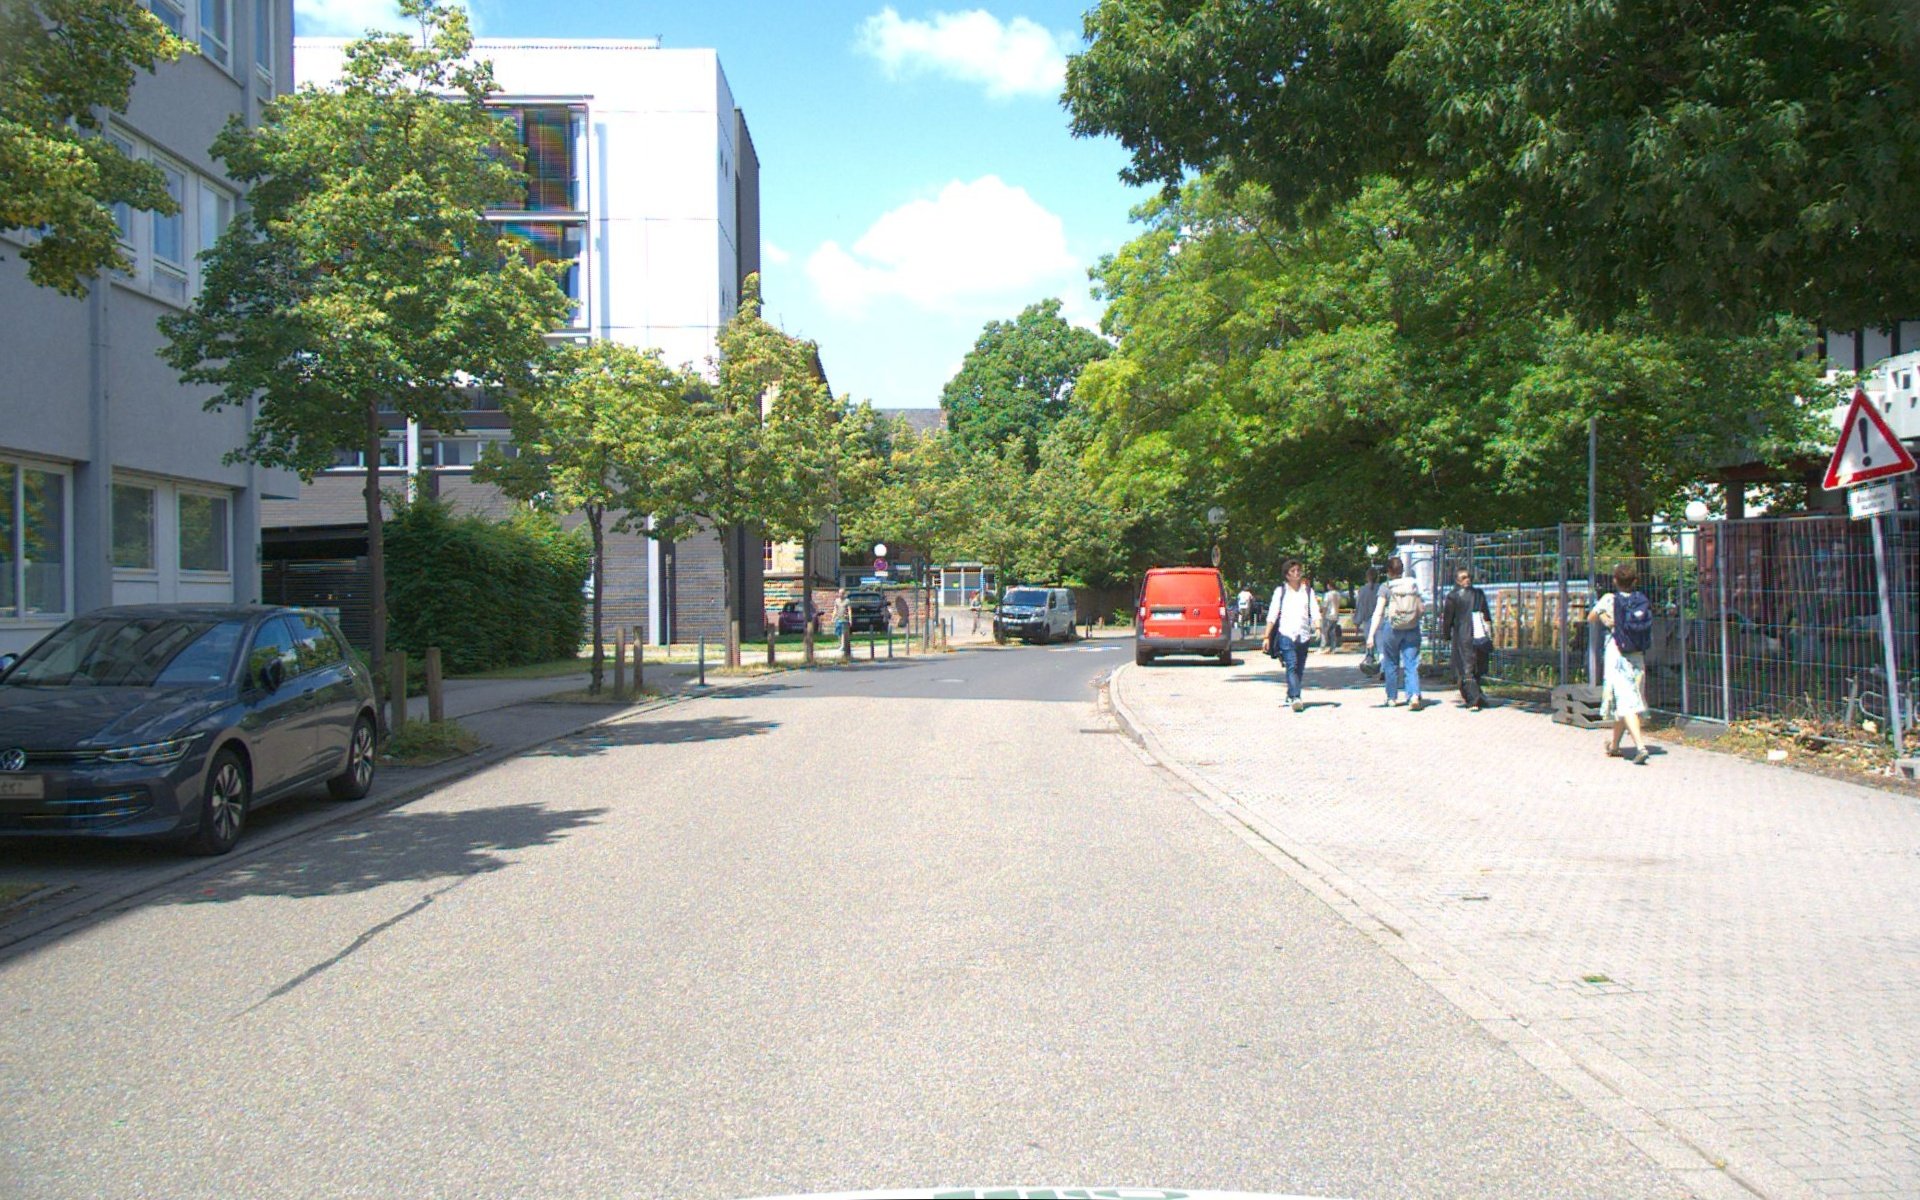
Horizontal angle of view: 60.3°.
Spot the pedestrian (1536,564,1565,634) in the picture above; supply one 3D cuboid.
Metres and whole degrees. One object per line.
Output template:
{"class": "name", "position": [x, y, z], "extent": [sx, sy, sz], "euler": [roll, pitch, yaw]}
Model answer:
{"class": "pedestrian", "position": [16.122, -0.024, 45.171], "extent": [0.531, 1.869, 0.762], "euler": [-1, 0, 5]}

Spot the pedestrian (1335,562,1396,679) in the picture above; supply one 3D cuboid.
{"class": "pedestrian", "position": [5.892, 0.294, 24.022], "extent": [0.699, 1.660, 0.710], "euler": [-1, 0, 28]}

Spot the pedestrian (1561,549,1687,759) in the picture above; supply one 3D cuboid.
{"class": "pedestrian", "position": [5.581, 0.438, 13.938], "extent": [0.636, 1.695, 0.904], "euler": [-1, 0, -3]}

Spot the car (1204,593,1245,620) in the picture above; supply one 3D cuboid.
{"class": "car", "position": [14.589, 0.353, 91.183], "extent": [1.582, 1.412, 4.001], "euler": [-1, 0, 19]}

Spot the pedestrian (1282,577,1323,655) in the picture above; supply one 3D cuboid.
{"class": "pedestrian", "position": [8.184, 0.377, 39.515], "extent": [0.716, 1.853, 0.621], "euler": [0, -1, -38]}

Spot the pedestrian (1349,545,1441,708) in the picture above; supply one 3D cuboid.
{"class": "pedestrian", "position": [4.928, 0.299, 18.778], "extent": [0.832, 1.795, 0.716], "euler": [-1, 0, 2]}

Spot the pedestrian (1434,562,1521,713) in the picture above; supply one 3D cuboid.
{"class": "pedestrian", "position": [5.763, 0.406, 18.457], "extent": [0.654, 1.628, 0.985], "euler": [-1, 0, 1]}

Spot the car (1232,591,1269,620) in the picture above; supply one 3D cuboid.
{"class": "car", "position": [17.460, 0.313, 99.385], "extent": [1.582, 1.708, 4.001], "euler": [-1, 0, 19]}

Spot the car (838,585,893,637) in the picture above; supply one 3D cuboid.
{"class": "car", "position": [-3.836, 0.430, 66.839], "extent": [2.132, 1.959, 5.182], "euler": [-1, 0, -4]}

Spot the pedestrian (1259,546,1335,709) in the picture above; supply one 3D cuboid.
{"class": "pedestrian", "position": [3.860, 0.307, 18.997], "extent": [0.680, 1.812, 0.787], "euler": [-1, 0, 0]}

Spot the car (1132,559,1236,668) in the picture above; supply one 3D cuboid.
{"class": "car", "position": [4.381, 0.239, 32.287], "extent": [1.809, 1.924, 4.894], "euler": [-1, 0, 8]}

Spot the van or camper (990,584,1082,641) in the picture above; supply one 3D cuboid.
{"class": "van or camper", "position": [2.771, 0.411, 58.944], "extent": [1.912, 1.957, 5.422], "euler": [0, 0, 18]}

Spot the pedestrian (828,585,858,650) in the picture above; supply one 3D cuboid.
{"class": "pedestrian", "position": [-3.297, 0.492, 46.588], "extent": [0.571, 1.795, 0.912], "euler": [-1, 0, 14]}

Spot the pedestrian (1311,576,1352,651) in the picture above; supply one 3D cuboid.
{"class": "pedestrian", "position": [8.690, 0.318, 38.693], "extent": [0.738, 1.740, 0.556], "euler": [0, -1, -38]}

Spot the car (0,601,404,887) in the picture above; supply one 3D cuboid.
{"class": "car", "position": [-5.135, 0.763, 10.851], "extent": [1.742, 1.486, 4.256], "euler": [0, 0, -3]}

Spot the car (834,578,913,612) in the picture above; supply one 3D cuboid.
{"class": "car", "position": [-4.887, -0.304, 93.104], "extent": [4.094, 1.855, 1.989], "euler": [-1, 0, -19]}

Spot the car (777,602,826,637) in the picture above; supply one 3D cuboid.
{"class": "car", "position": [-6.369, 0.774, 66.861], "extent": [1.781, 1.347, 3.766], "euler": [-1, 0, -3]}
